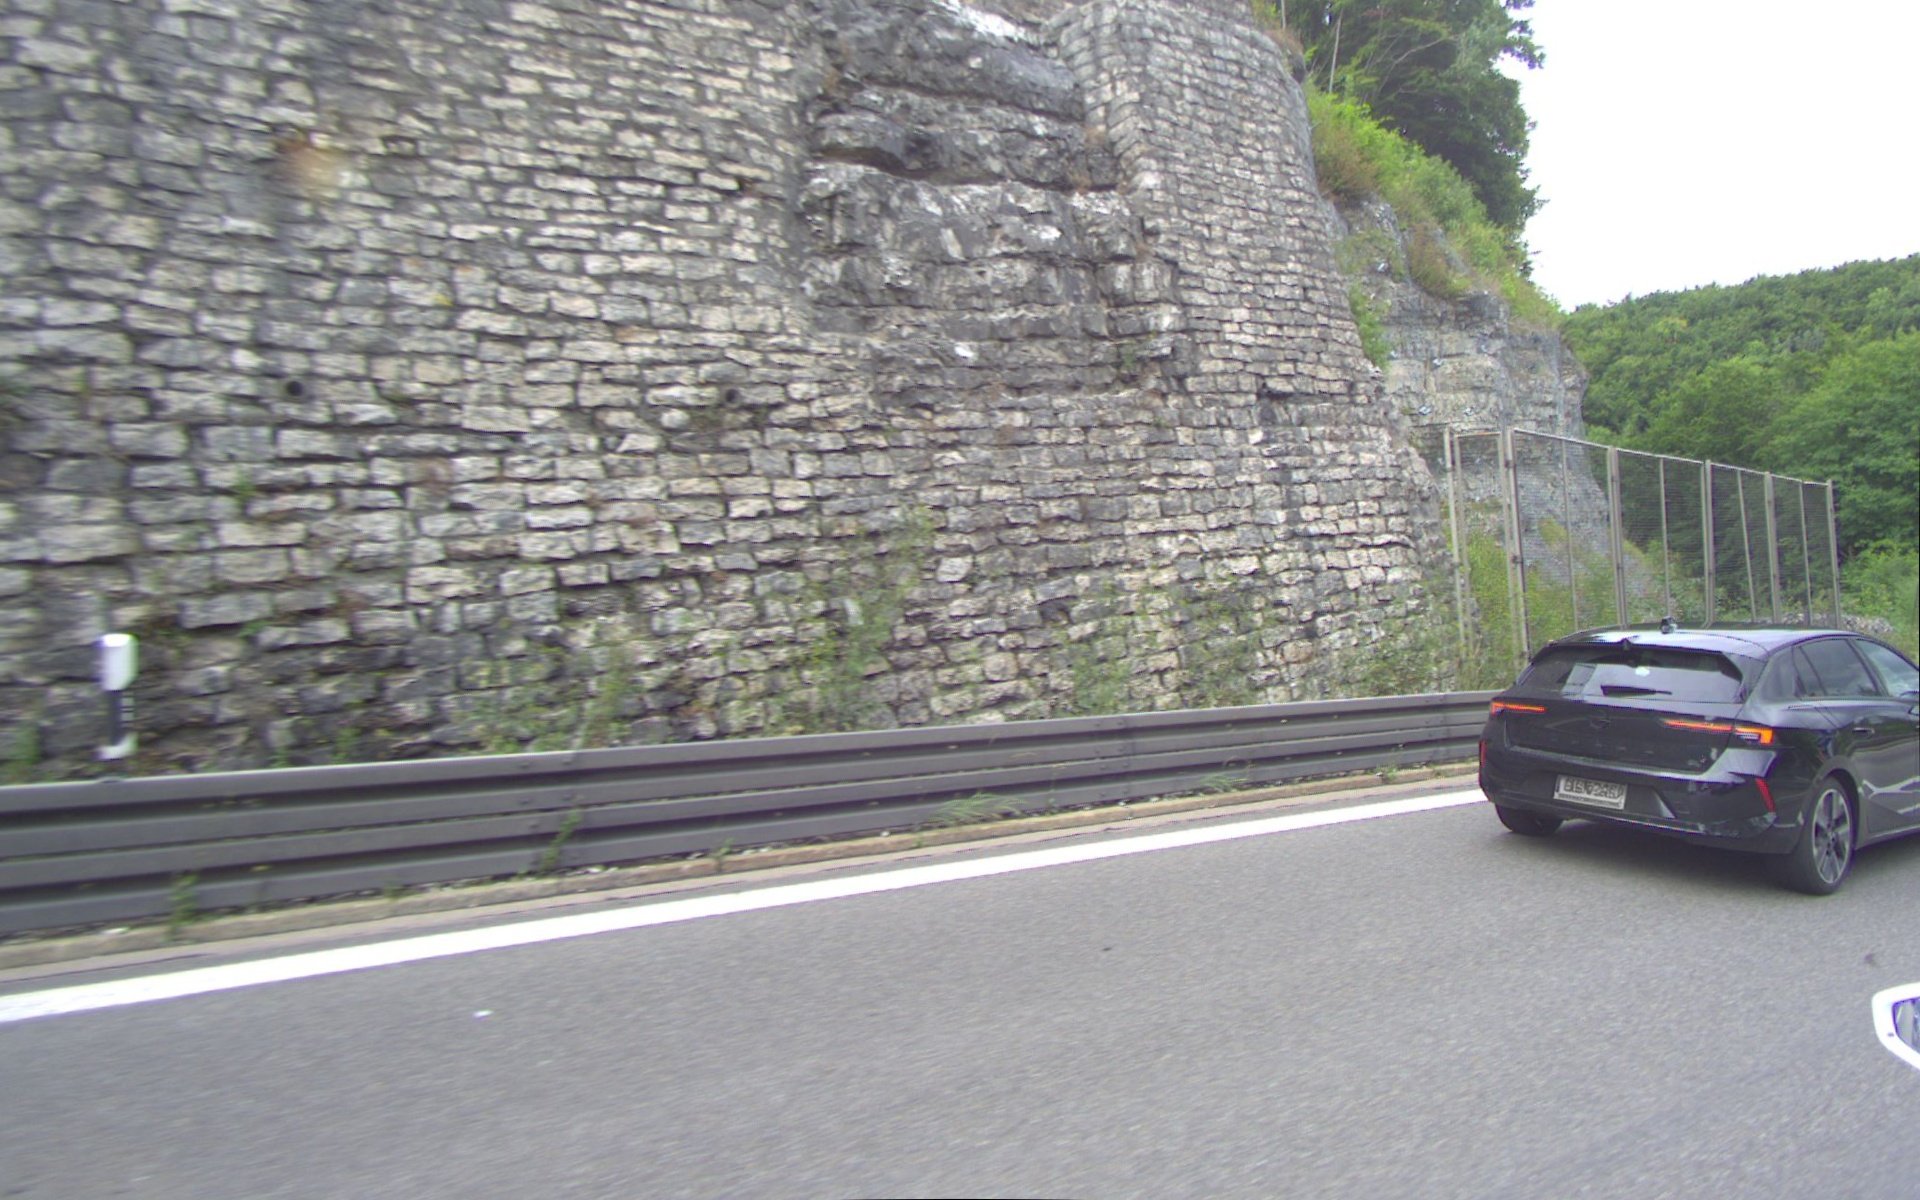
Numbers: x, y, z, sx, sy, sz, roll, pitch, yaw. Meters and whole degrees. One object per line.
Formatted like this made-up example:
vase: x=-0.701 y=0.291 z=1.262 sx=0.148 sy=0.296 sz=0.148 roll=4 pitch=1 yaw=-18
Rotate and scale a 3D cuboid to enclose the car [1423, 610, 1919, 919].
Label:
car: x=5.329 y=0.834 z=6.761 sx=4.527 sy=1.480 sz=1.765 roll=1 pitch=-1 yaw=-30
